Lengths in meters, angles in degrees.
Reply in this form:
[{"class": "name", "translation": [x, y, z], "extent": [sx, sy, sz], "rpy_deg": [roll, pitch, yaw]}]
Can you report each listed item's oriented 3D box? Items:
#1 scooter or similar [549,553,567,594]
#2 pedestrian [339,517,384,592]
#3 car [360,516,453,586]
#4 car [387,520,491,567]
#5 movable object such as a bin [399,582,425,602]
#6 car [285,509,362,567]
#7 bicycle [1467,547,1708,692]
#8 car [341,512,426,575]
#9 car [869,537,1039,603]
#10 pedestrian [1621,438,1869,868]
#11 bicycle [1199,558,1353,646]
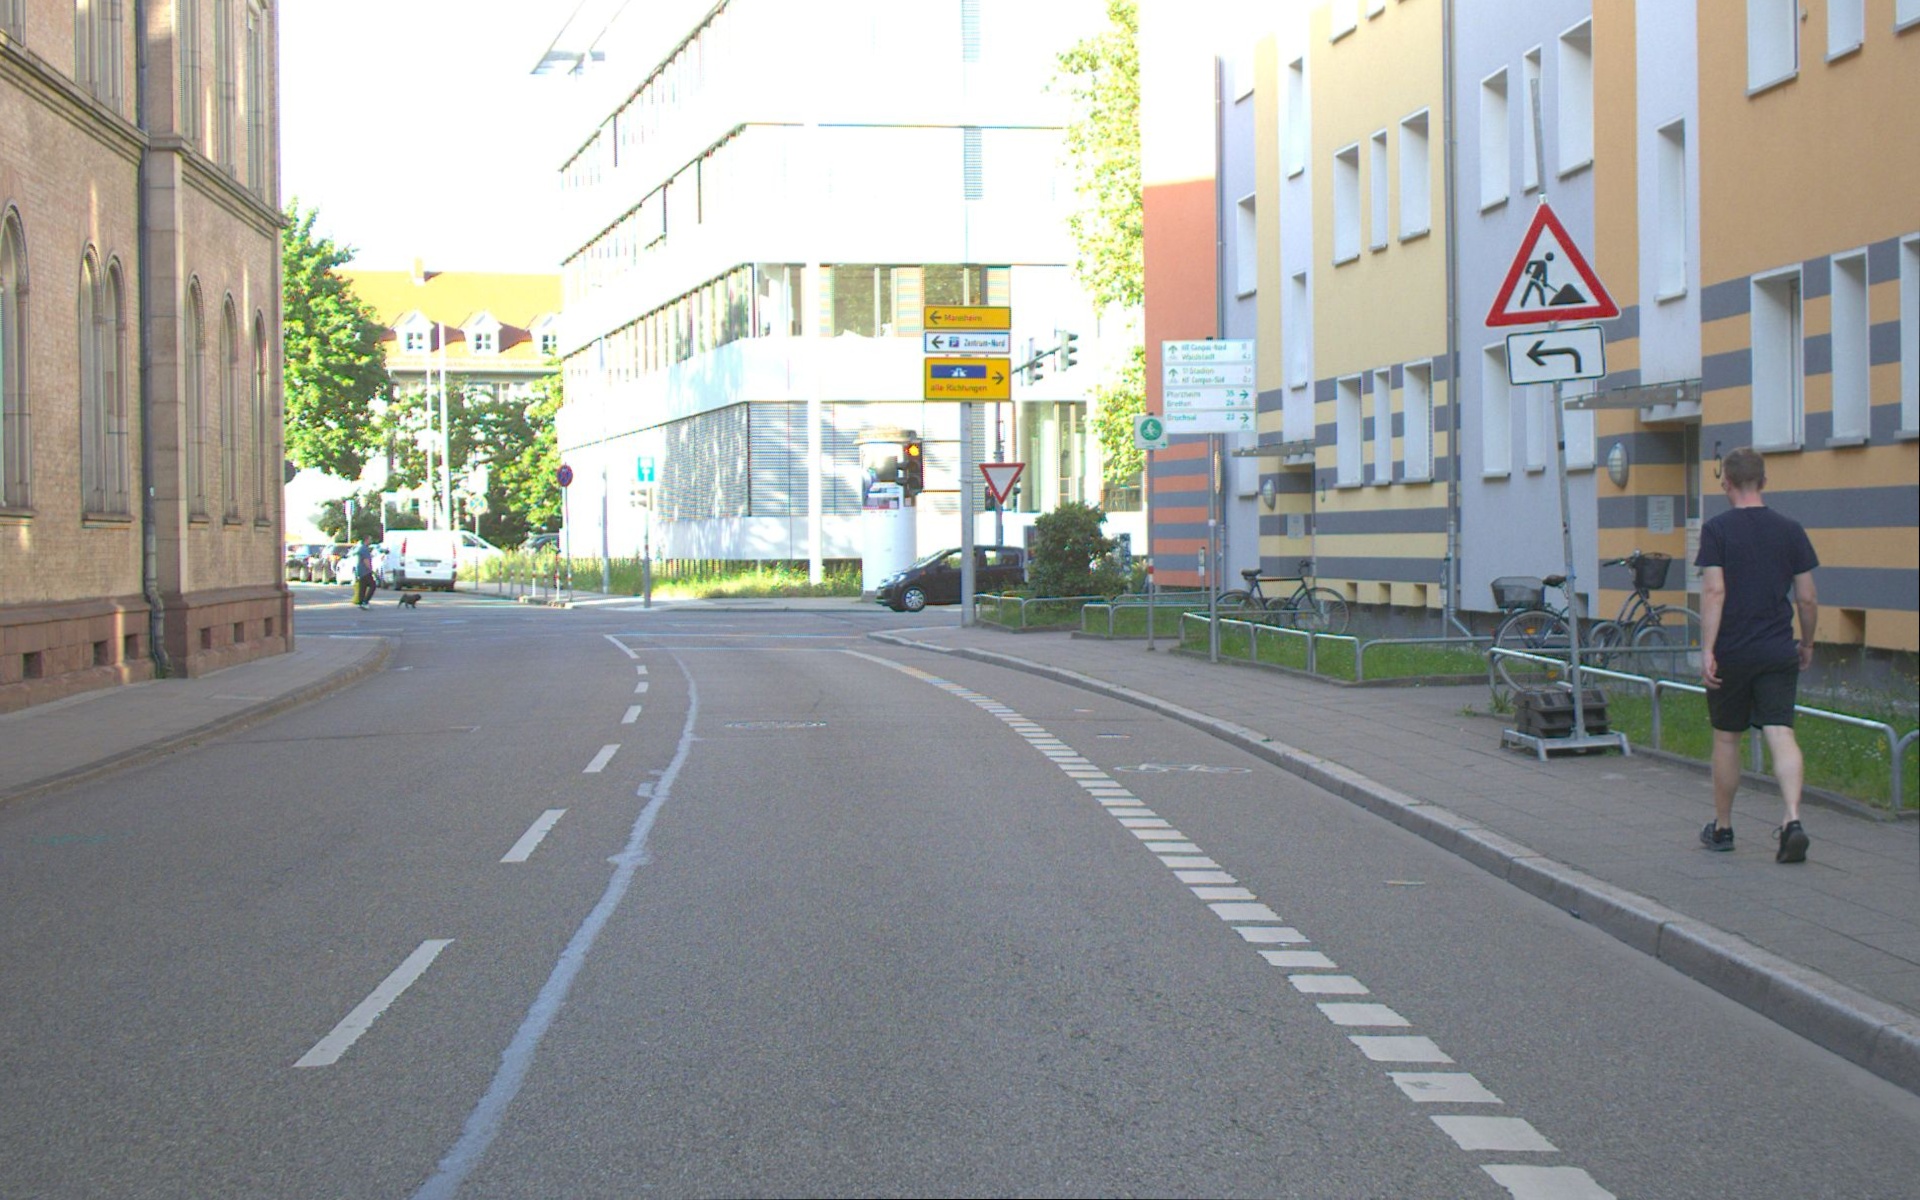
[{"class": "scooter or similar", "translation": [-10.587, -0.708, 90.592], "extent": [0.325, 1.056, 1.143], "rpy_deg": [-1, 1, -14]}, {"class": "pedestrian", "translation": [-14.215, -1.070, 81.619], "extent": [0.926, 1.753, 0.848], "rpy_deg": [1, 0, -15]}, {"class": "car", "translation": [-17.685, -1.557, 109.667], "extent": [2.423, 2.105, 5.233], "rpy_deg": [1, 0, -14]}, {"class": "car", "translation": [-22.345, -2.418, 147.374], "extent": [3.986, 1.909, 1.920], "rpy_deg": [1, 0, -25]}, {"class": "movable object such as a bin", "translation": [-13.125, -0.190, 82.345], "extent": [0.589, 0.479, 0.286], "rpy_deg": [-1, 1, -18]}, {"class": "car", "translation": [-24.121, -2.341, 130.243], "extent": [2.329, 2.105, 5.007], "rpy_deg": [1, 0, -16]}, {"class": "bicycle", "translation": [5.039, 0.152, 27.644], "extent": [1.810, 1.133, 0.552], "rpy_deg": [-1, 0, -3]}, {"class": "car", "translation": [-20.310, -1.966, 120.974], "extent": [2.329, 2.105, 5.007], "rpy_deg": [1, 0, -16]}, {"class": "car", "translation": [-0.142, -0.676, 76.245], "extent": [3.428, 1.441, 1.775], "rpy_deg": [0, 1, -15]}, {"class": "pedestrian", "translation": [3.378, 0.208, 14.885], "extent": [0.696, 1.754, 1.189], "rpy_deg": [-3, 1, -2]}, {"class": "bicycle", "translation": [3.834, 0.022, 41.769], "extent": [1.753, 1.000, 0.613], "rpy_deg": [-2, 1, -6]}]
